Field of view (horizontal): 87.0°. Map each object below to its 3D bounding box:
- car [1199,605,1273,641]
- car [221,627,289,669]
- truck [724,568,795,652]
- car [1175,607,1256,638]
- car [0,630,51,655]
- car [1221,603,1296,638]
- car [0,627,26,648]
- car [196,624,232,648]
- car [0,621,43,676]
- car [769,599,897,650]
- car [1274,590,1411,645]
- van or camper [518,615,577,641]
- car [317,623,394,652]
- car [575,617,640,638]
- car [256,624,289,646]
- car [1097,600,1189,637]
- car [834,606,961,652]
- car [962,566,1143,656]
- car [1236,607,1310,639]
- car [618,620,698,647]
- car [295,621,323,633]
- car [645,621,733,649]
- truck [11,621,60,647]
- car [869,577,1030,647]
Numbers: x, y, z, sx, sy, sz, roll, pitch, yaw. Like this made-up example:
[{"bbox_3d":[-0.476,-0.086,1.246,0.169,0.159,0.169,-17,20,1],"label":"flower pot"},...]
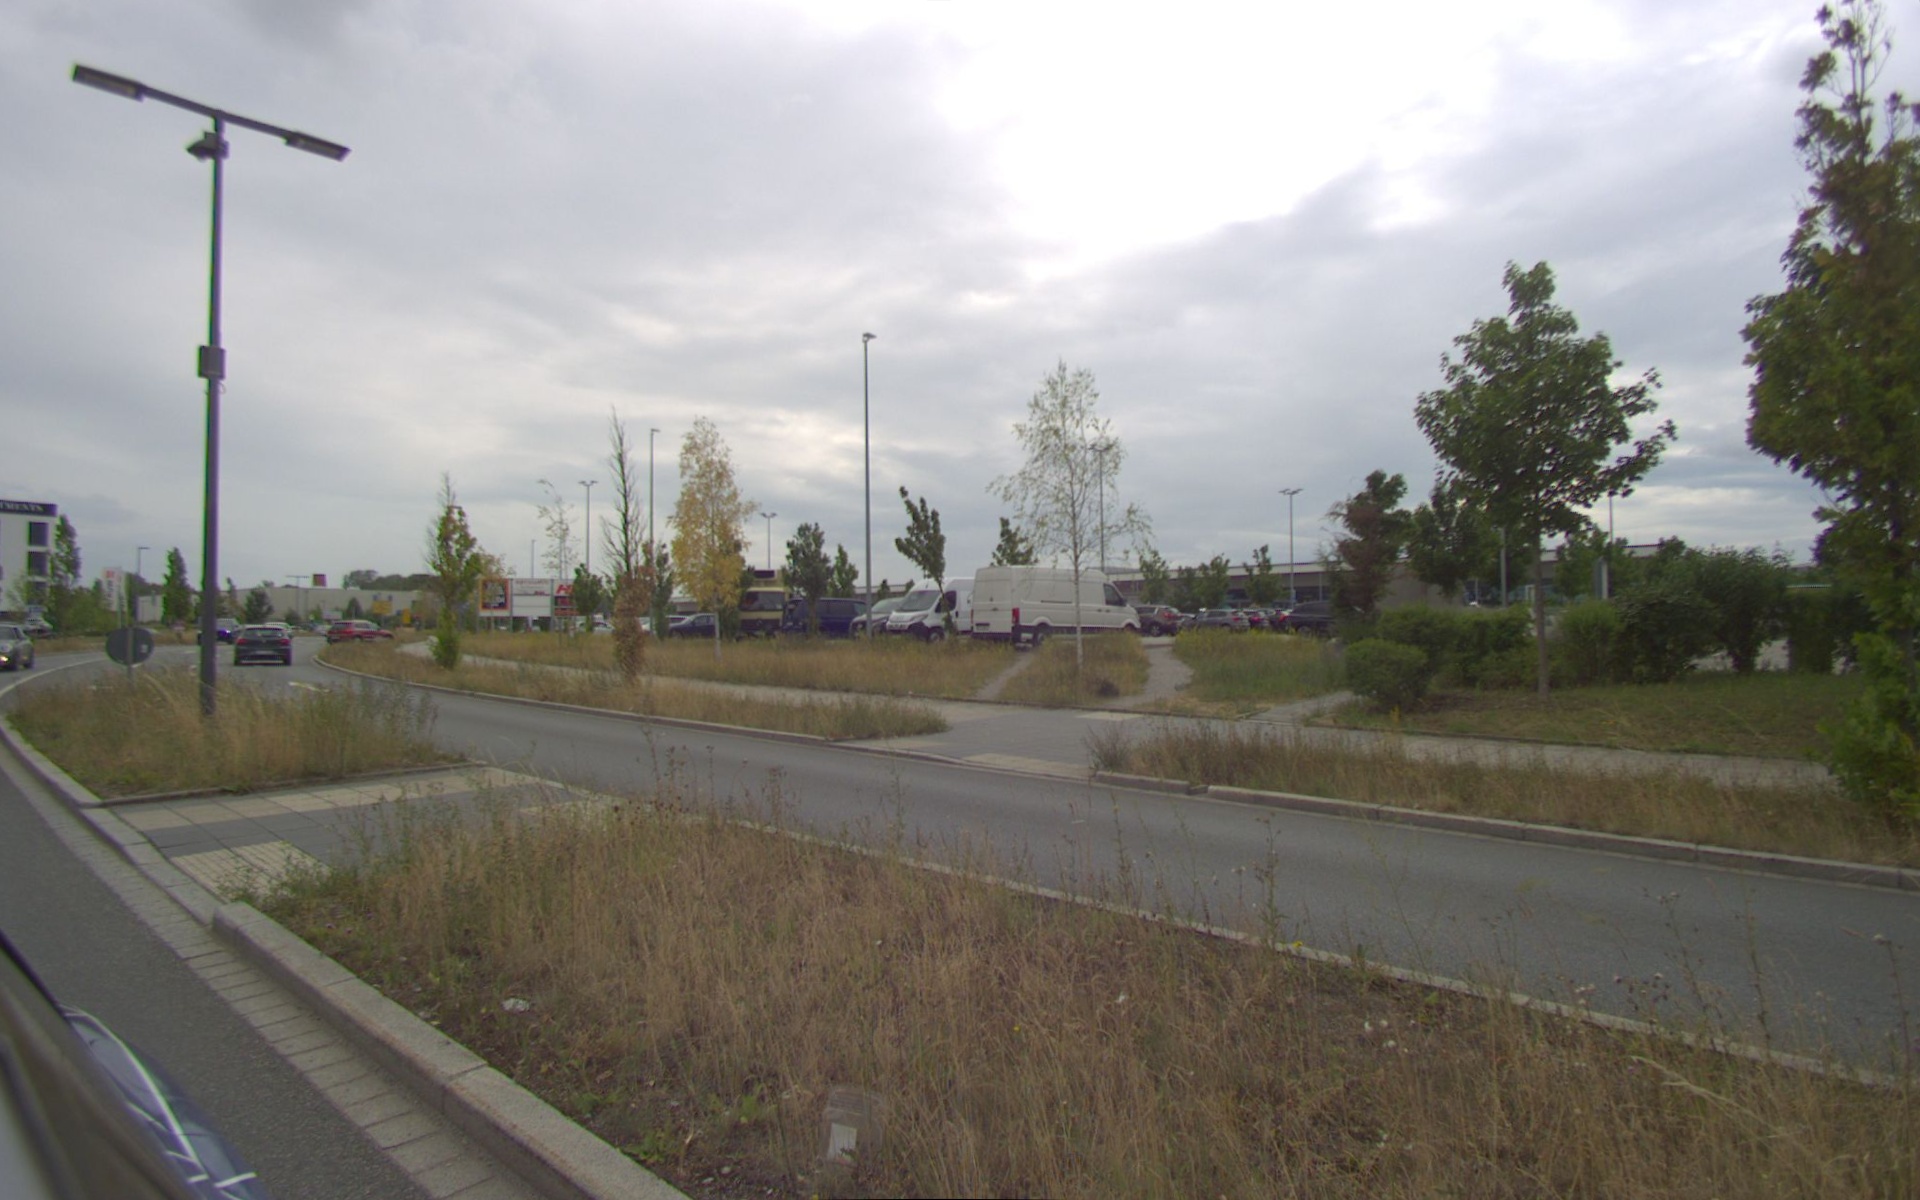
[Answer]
[{"bbox_3d":[16.259,1.353,59.793,1.723,2.029,4.010,1,-2,-35],"label":"car"},{"bbox_3d":[-25.565,1.736,36.788,1.816,1.418,4.011,3,-4,-33],"label":"car"},{"bbox_3d":[-9.206,0.534,47.147,2.813,3.568,8.444,0,-1,-8],"label":"truck"},{"bbox_3d":[14.529,1.289,57.580,3.996,1.684,1.974,-1,-2,40],"label":"car"},{"bbox_3d":[-56.316,2.485,59.272,4.175,1.431,1.840,0,-2,-12],"label":"car"},{"bbox_3d":[18.162,1.271,61.703,1.968,2.029,4.007,1,-2,-39],"label":"car"},{"bbox_3d":[-77.304,3.063,82.140,1.739,1.699,4.420,2,-3,-38],"label":"car"},{"bbox_3d":[-50.766,2.457,68.895,1.728,1.597,4.011,0,-2,-33],"label":"car"},{"bbox_3d":[-29.516,1.472,30.806,1.728,1.597,4.011,0,-2,-33],"label":"car"},{"bbox_3d":[-5.250,1.013,42.070,4.838,2.005,2.183,1,-2,-38],"label":"car"},{"bbox_3d":[15.003,0.727,39.840,4.638,2.048,1.972,-2,-3,43],"label":"car"},{"bbox_3d":[-46.672,3.199,114.498,5.774,2.821,2.249,1,-2,-35],"label":"van or camper"},{"bbox_3d":[-37.955,2.394,63.670,1.783,1.682,4.316,1,-3,7],"label":"car"},{"bbox_3d":[-25.142,1.965,72.262,4.121,1.480,1.892,1,-2,-30],"label":"car"},{"bbox_3d":[-46.591,2.395,68.533,1.680,1.449,4.041,1,-3,-36],"label":"car"},{"bbox_3d":[9.437,0.987,52.297,4.263,1.863,1.974,-1,-2,40],"label":"car"},{"bbox_3d":[-2.324,1.094,38.577,1.994,1.629,4.849,-2,-2,42],"label":"car"},{"bbox_3d":[3.098,0.385,32.524,2.245,2.618,6.334,-2,-2,45],"label":"car"},{"bbox_3d":[19.697,1.446,63.776,1.968,1.912,4.007,1,-2,-39],"label":"car"},{"bbox_3d":[-18.163,1.996,60.847,4.190,1.571,1.994,1,-3,-35],"label":"car"},{"bbox_3d":[-115.586,4.764,179.647,1.633,2.029,3.966,-1,-2,25],"label":"car"},{"bbox_3d":[-14.484,1.878,54.179,4.174,1.446,2.003,1,-3,-32],"label":"car"},{"bbox_3d":[-87.313,3.265,95.698,2.196,2.343,8.235,1,-3,-34],"label":"truck"},{"bbox_3d":[-0.270,0.455,36.265,2.211,2.324,6.000,-2,-2,44],"label":"car"}]
